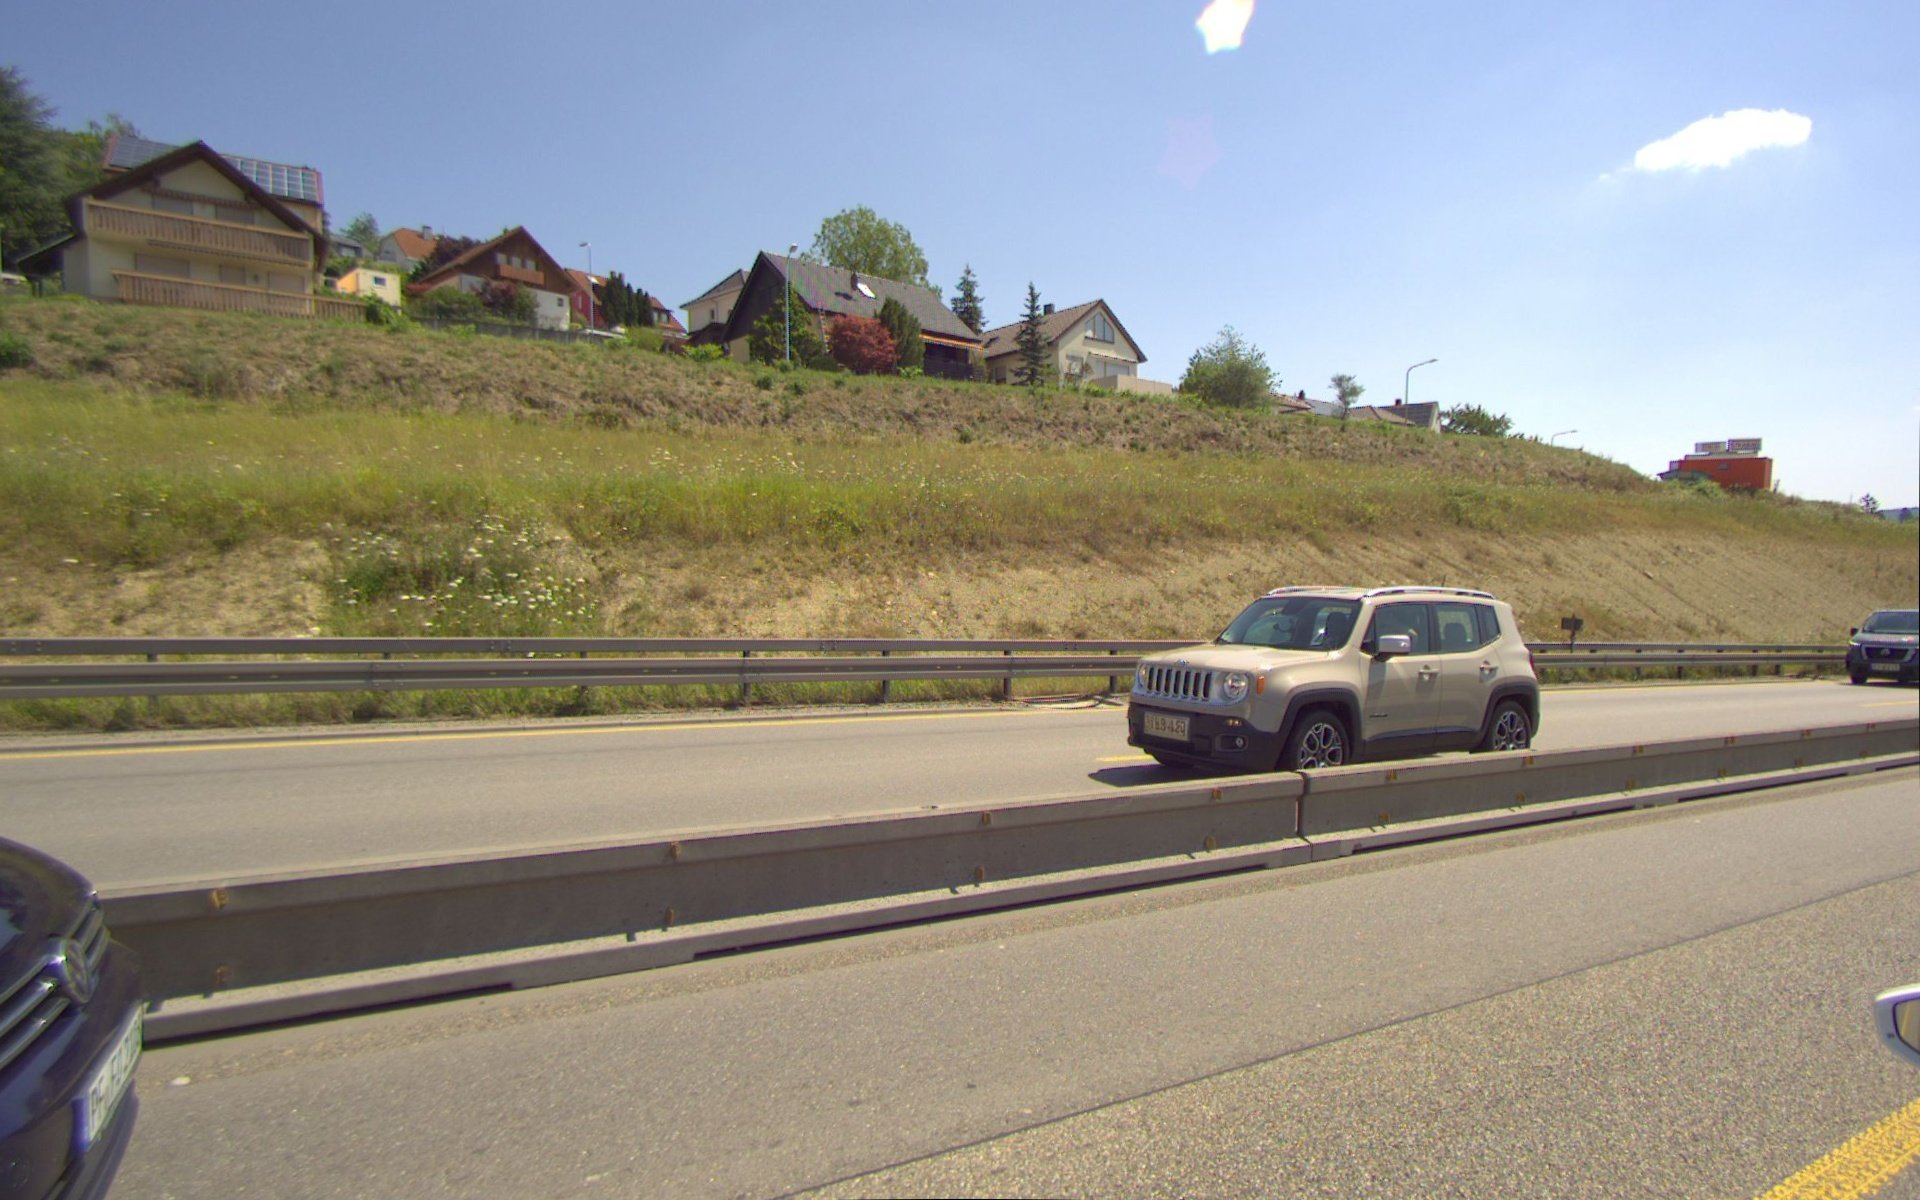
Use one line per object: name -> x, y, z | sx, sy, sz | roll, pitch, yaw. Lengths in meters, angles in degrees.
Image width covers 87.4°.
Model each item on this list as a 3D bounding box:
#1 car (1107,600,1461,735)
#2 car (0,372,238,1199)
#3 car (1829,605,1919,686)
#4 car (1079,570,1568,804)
car -> 4.471, 0.841, 13.686 | 4.664, 1.527, 1.984 | 2, 0, -31
car -> -3.650, 0.541, 0.983 | 4.597, 1.741, 1.767 | 0, 1, -30
car -> 24.945, 1.146, 26.178 | 5.063, 1.952, 2.028 | 1, -1, -31
car -> 3.399, 0.684, 9.178 | 4.363, 1.688, 1.823 | 2, 0, -30
